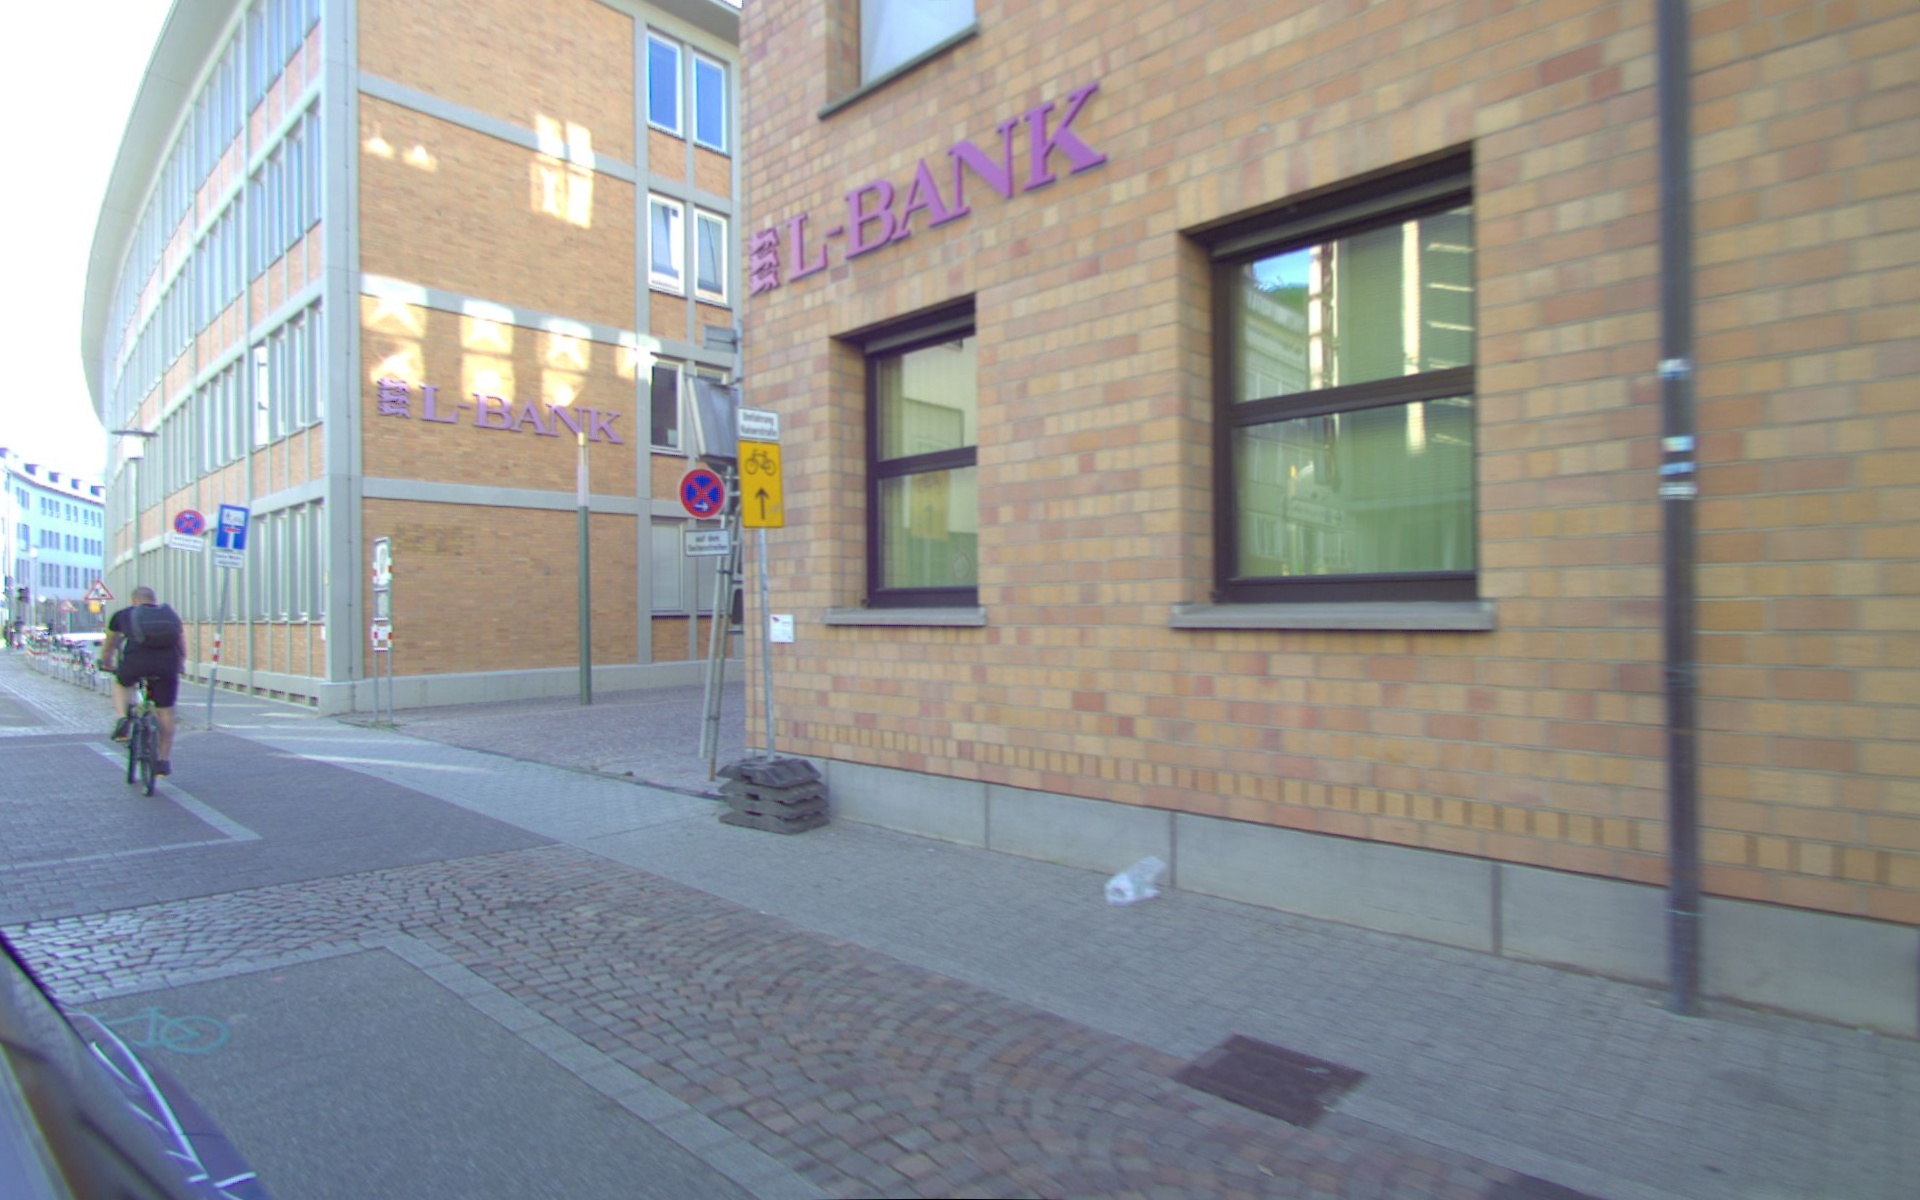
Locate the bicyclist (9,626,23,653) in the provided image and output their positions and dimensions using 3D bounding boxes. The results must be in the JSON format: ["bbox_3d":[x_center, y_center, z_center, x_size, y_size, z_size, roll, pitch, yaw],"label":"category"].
[{"bbox_3d":[-54.739,2.288,58.695,0.568,1.545,0.817,-1,-1,-40],"label":"bicyclist"}]

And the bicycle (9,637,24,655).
[{"bbox_3d":[-54.702,2.668,58.688,0.568,0.968,1.723,-1,-1,-40],"label":"bicycle"}]

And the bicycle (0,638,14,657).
[{"bbox_3d":[-51.261,2.534,54.354,0.568,0.968,1.723,-1,-1,-40],"label":"bicycle"}]

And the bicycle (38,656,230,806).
[{"bbox_3d":[-7.203,1.090,8.815,1.728,1.140,0.646,0,-3,29],"label":"bicycle"}]

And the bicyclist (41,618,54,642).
[{"bbox_3d":[-60.696,1.995,67.319,0.572,1.586,0.693,-1,-1,-40],"label":"bicyclist"}]

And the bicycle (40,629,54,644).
[{"bbox_3d":[-60.703,2.418,67.309,0.613,0.968,1.723,-1,-1,-40],"label":"bicycle"}]

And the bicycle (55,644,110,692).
[{"bbox_3d":[-20.722,1.581,23.887,1.820,1.062,0.620,-1,-1,37],"label":"bicycle"}]

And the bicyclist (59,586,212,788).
[{"bbox_3d":[-7.187,0.724,8.830,0.921,1.655,0.658,0,-3,29],"label":"bicyclist"}]

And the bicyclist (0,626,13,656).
[{"bbox_3d":[-51.384,2.185,54.494,0.572,1.586,0.693,-1,-1,-42],"label":"bicyclist"}]
